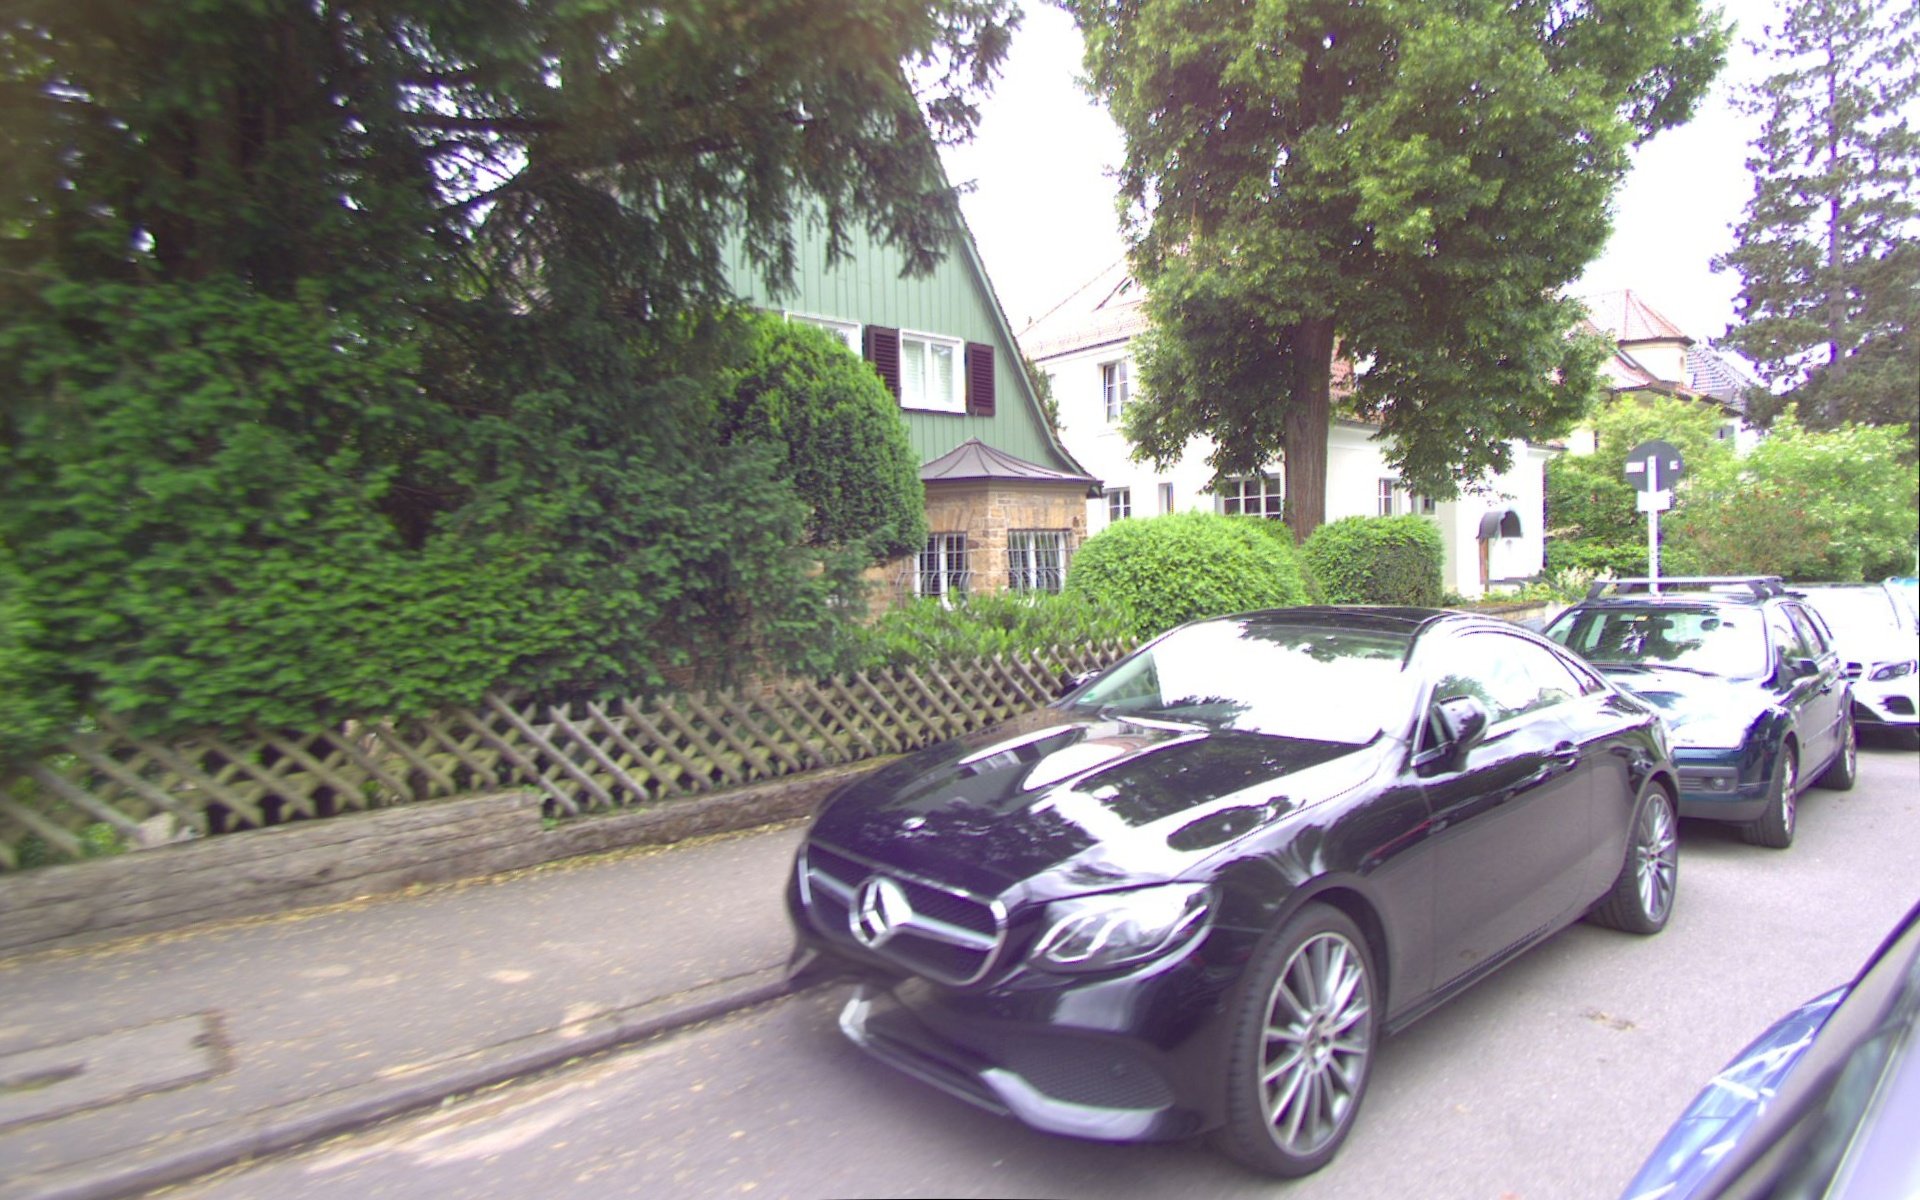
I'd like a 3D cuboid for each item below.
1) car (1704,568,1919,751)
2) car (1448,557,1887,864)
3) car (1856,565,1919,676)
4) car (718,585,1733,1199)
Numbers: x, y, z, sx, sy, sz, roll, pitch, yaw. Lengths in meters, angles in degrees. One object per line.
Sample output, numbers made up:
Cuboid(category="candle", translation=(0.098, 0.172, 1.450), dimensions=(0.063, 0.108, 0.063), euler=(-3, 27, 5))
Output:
Cuboid(category="car", translation=(9.693, 0.508, 11.073), dimensions=(4.500, 1.626, 1.758), euler=(-1, 0, -44))
Cuboid(category="car", translation=(5.267, 0.528, 7.293), dimensions=(4.235, 1.590, 1.700), euler=(-1, 2, -42))
Cuboid(category="car", translation=(17.529, 0.325, 18.117), dimensions=(4.084, 1.853, 1.685), euler=(0, -1, -41))
Cuboid(category="car", translation=(1.496, 0.678, 4.101), dimensions=(4.578, 1.442, 1.655), euler=(-1, 0, -40))
